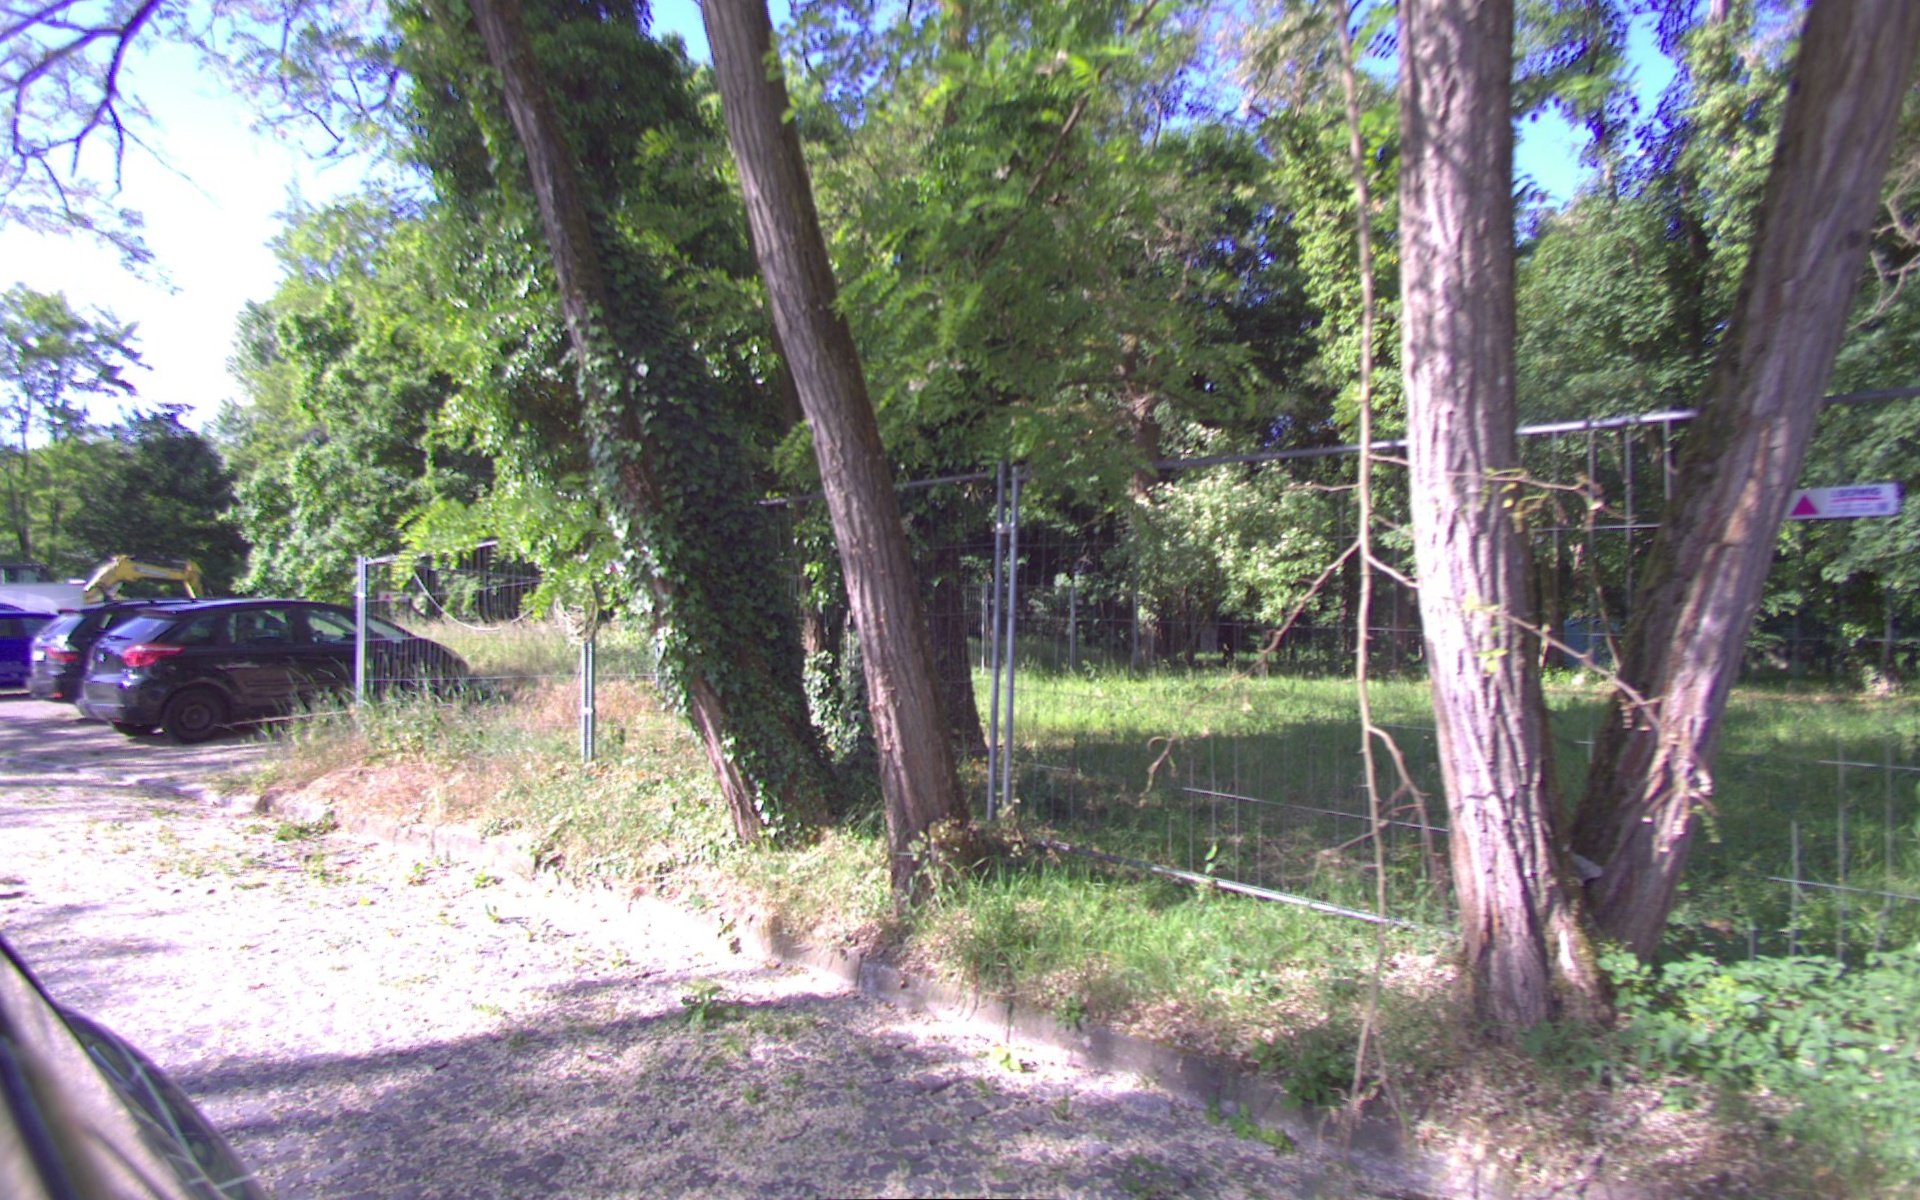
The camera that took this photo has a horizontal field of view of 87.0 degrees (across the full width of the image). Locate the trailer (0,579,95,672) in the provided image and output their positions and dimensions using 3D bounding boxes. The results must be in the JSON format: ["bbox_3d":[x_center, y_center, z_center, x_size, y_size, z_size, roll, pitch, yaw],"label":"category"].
[{"bbox_3d":[-21.988,0.559,23.318,1.822,2.066,2.814,0,1,38],"label":"trailer"}]

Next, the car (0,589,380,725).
[{"bbox_3d":[-11.455,0.715,15.347,1.875,1.643,4.227,0,2,32],"label":"car"}]

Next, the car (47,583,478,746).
[{"bbox_3d":[-8.850,0.689,13.249,1.823,1.601,4.228,-1,2,31],"label":"car"}]

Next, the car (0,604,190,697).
[{"bbox_3d":[-16.127,0.852,17.841,1.783,1.469,3.743,0,1,37],"label":"car"}]

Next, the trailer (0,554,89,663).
[{"bbox_3d":[-23.594,0.203,24.886,2.263,2.557,2.815,0,3,38],"label":"trailer"}]

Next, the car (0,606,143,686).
[{"bbox_3d":[-18.274,0.865,19.385,1.892,1.422,3.744,0,1,36],"label":"car"}]

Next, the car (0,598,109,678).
[{"bbox_3d":[-20.382,0.784,20.801,1.967,1.601,4.081,0,1,36],"label":"car"}]
